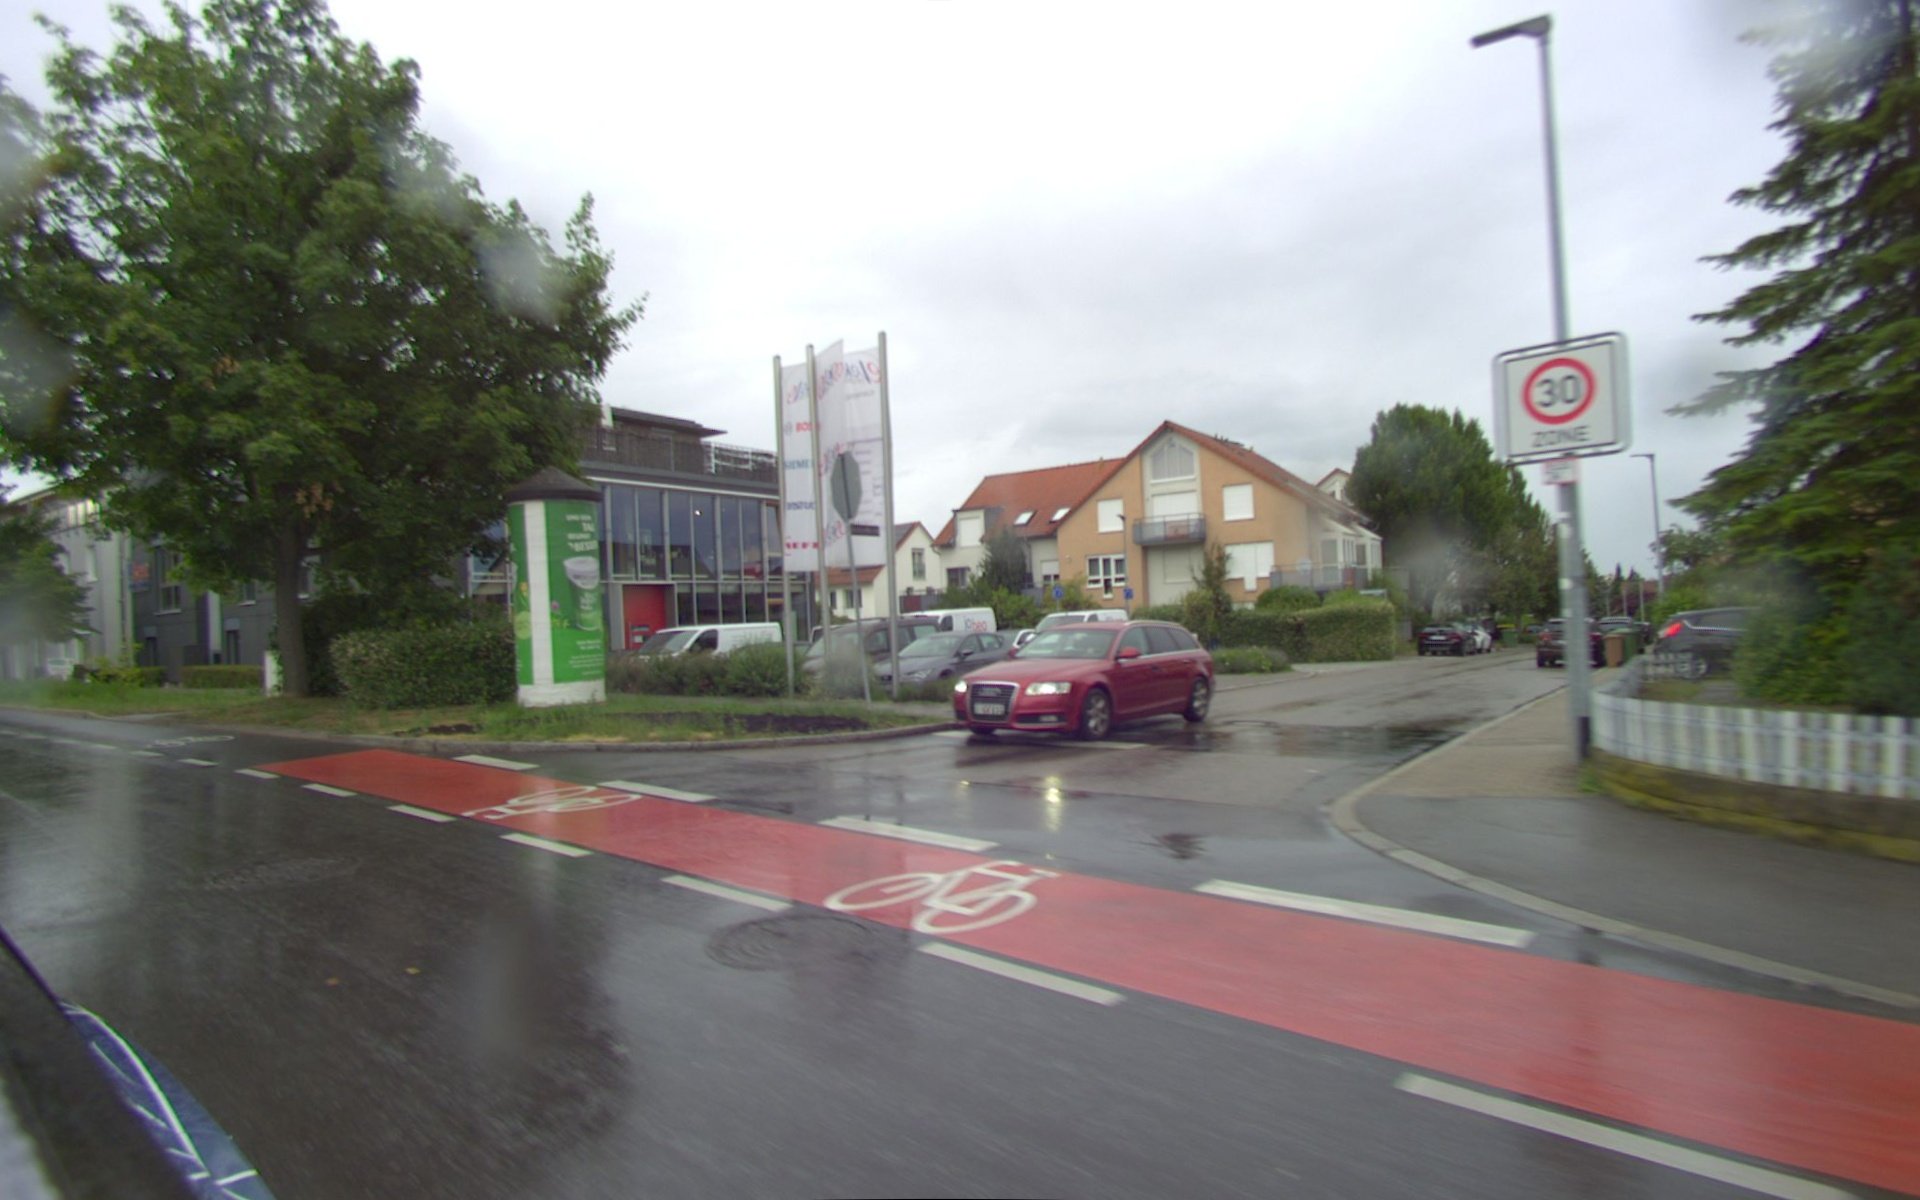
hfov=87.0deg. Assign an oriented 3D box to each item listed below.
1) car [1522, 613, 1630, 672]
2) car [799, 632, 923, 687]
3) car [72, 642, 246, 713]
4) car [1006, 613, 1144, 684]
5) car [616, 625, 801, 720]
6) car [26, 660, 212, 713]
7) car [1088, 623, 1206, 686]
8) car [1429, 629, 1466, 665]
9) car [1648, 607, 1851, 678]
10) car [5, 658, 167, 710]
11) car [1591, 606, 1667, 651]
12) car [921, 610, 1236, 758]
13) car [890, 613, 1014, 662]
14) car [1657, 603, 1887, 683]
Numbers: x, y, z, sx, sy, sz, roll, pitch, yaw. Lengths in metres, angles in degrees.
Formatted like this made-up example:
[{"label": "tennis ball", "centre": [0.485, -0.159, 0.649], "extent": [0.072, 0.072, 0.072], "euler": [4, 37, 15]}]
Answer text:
[{"label": "car", "centre": [19.049, 1.295, 31.236], "extent": [3.942, 1.453, 1.884], "euler": [-3, -2, -45]}, {"label": "car", "centre": [-3.505, 2.105, 36.585], "extent": [2.042, 1.804, 4.510], "euler": [-3, -3, 35]}, {"label": "car", "centre": [-18.215, 1.715, 23.107], "extent": [1.250, 1.466, 2.883], "euler": [-1, -2, 35]}, {"label": "car", "centre": [3.748, 1.485, 32.047], "extent": [1.877, 1.783, 5.013], "euler": [-6, -2, 38]}, {"label": "car", "centre": [-6.476, 1.840, 26.531], "extent": [2.146, 2.029, 4.365], "euler": [-6, -2, 31]}, {"label": "car", "centre": [-24.198, 2.464, 29.254], "extent": [1.578, 1.294, 3.867], "euler": [-3, -3, 35]}, {"label": "car", "centre": [5.630, 1.595, 30.150], "extent": [1.746, 1.504, 3.913], "euler": [-6, -2, 38]}, {"label": "car", "centre": [20.432, 1.944, 42.393], "extent": [1.256, 1.355, 2.916], "euler": [-5, -3, 26]}, {"label": "car", "centre": [17.611, 0.963, 22.678], "extent": [3.394, 1.355, 1.497], "euler": [-6, -3, 40]}, {"label": "car", "centre": [-22.321, 2.124, 25.918], "extent": [1.468, 1.168, 2.883], "euler": [-3, -3, 35]}, {"label": "car", "centre": [26.888, 1.116, 40.634], "extent": [3.942, 1.453, 1.695], "euler": [-3, -2, -45]}, {"label": "car", "centre": [1.727, 0.974, 13.206], "extent": [1.873, 1.579, 4.596], "euler": [-3, -3, 39]}, {"label": "car", "centre": [-0.214, 1.304, 35.661], "extent": [2.174, 1.579, 4.511], "euler": [-3, -3, 34]}, {"label": "car", "centre": [16.147, 0.881, 20.275], "extent": [3.394, 1.355, 1.525], "euler": [-6, -3, 40]}]
